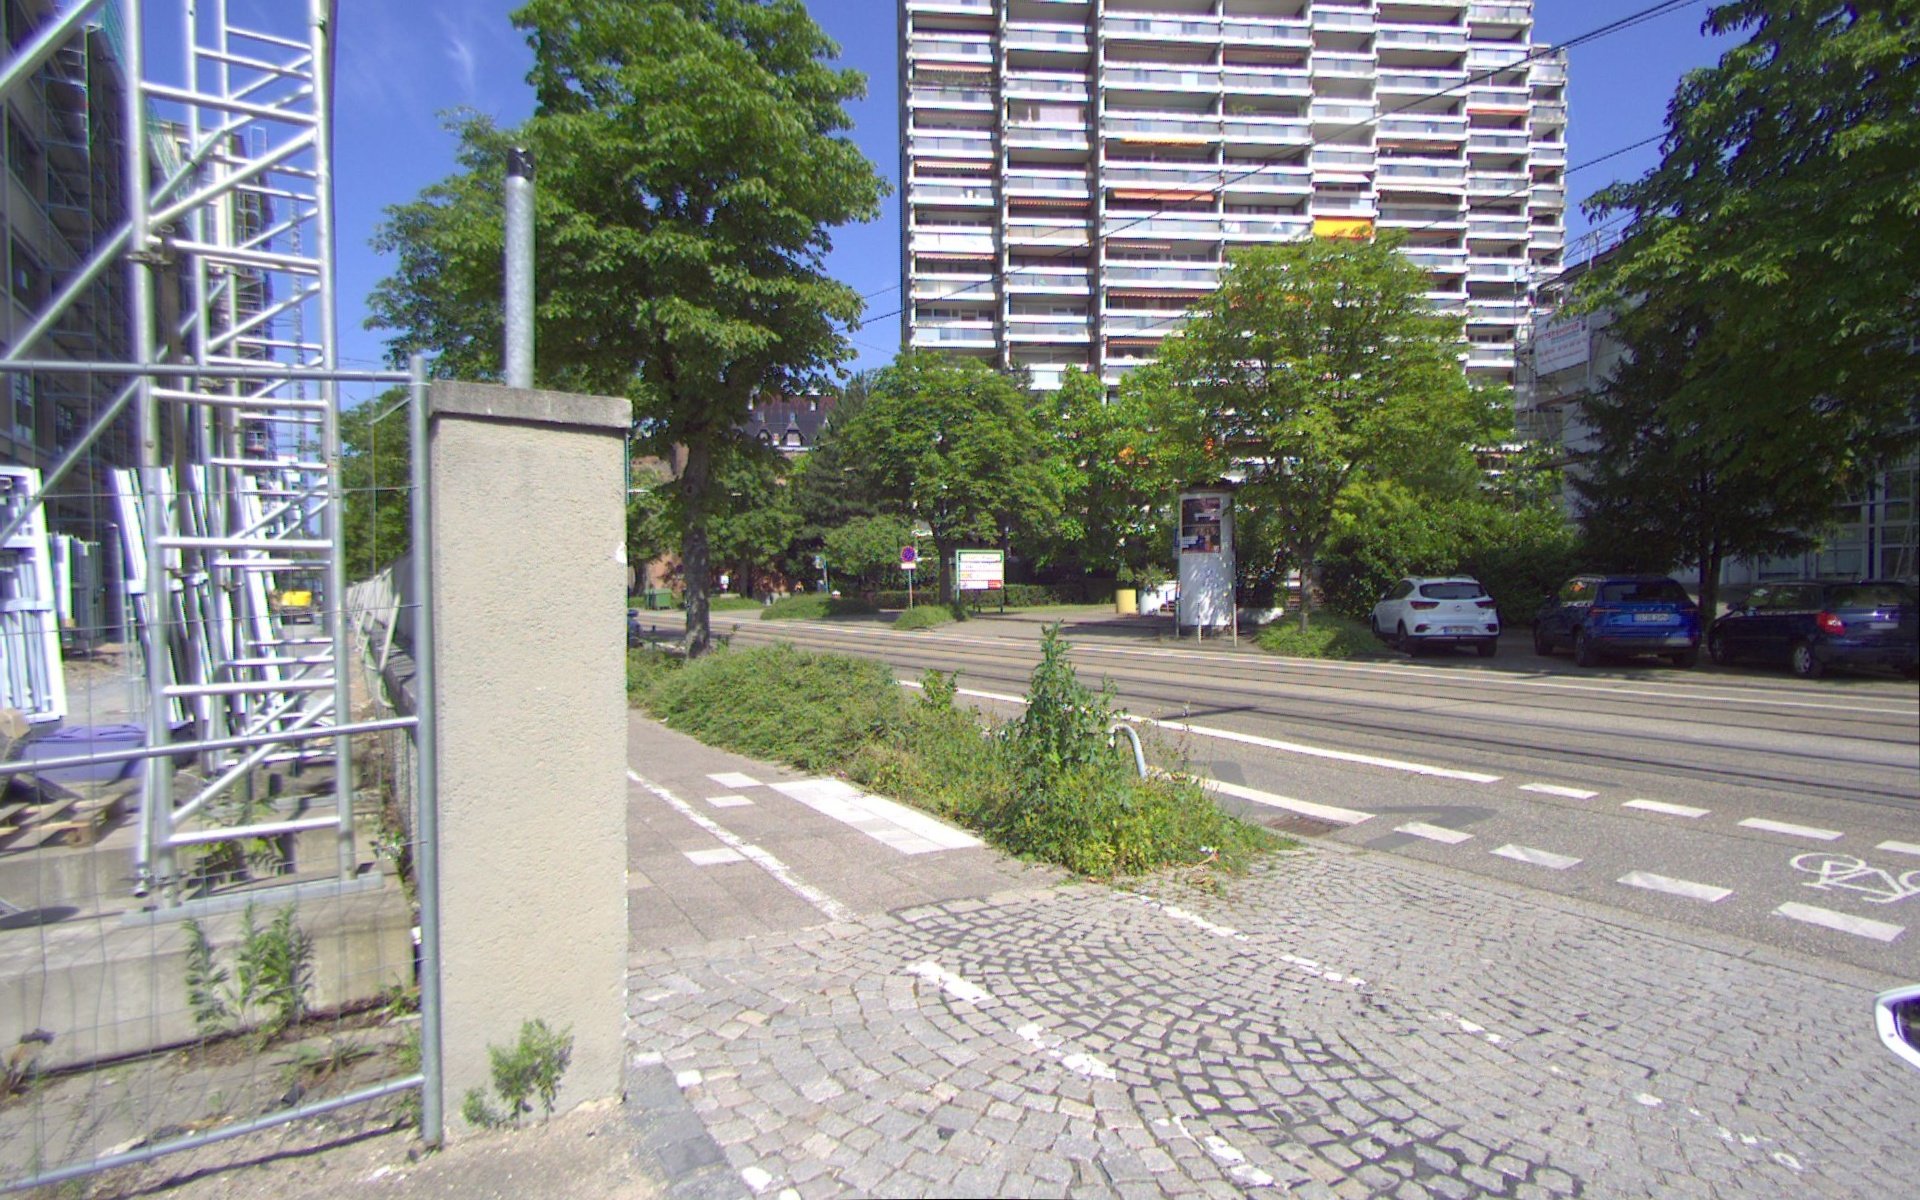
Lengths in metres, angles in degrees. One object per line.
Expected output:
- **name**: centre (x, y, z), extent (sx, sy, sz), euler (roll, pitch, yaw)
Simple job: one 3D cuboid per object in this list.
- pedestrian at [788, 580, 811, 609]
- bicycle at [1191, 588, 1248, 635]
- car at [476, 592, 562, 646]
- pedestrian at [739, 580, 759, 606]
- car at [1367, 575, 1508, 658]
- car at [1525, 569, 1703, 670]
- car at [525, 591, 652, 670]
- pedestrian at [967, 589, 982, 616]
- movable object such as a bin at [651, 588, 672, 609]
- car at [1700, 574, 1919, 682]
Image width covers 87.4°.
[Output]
- **pedestrian**: centre (-10.126, -0.364, 63.390), extent (1.047, 1.822, 1.255), euler (1, 1, -28)
- **bicycle**: centre (7.455, 0.315, 28.895), extent (0.542, 1.326, 1.604), euler (-1, 1, -37)
- **car**: centre (-13.237, 0.510, 30.025), extent (1.801, 1.473, 3.965), euler (-1, 1, -32)
- **pedestrian**: centre (-14.827, -0.488, 70.558), extent (1.047, 1.822, 1.255), euler (1, 1, -29)
- **car**: centre (10.131, 0.293, 21.634), extent (1.783, 1.628, 3.947), euler (0, 1, 10)
- **car**: centre (12.073, 0.291, 18.826), extent (1.745, 1.644, 3.945), euler (-1, 2, 17)
- **car**: centre (-8.128, 0.577, 21.763), extent (1.801, 1.514, 4.071), euler (-1, 1, -32)
- **pedestrian**: centre (0.645, 0.111, 44.590), extent (0.525, 1.170, 0.700), euler (-1, 1, -10)
- **movable object such as a bin**: centre (-21.058, -0.085, 70.916), extent (1.249, 1.473, 1.072), euler (0, 1, -27)
- **car**: centre (13.700, 0.375, 16.216), extent (1.544, 1.551, 3.460), euler (0, 1, 12)
